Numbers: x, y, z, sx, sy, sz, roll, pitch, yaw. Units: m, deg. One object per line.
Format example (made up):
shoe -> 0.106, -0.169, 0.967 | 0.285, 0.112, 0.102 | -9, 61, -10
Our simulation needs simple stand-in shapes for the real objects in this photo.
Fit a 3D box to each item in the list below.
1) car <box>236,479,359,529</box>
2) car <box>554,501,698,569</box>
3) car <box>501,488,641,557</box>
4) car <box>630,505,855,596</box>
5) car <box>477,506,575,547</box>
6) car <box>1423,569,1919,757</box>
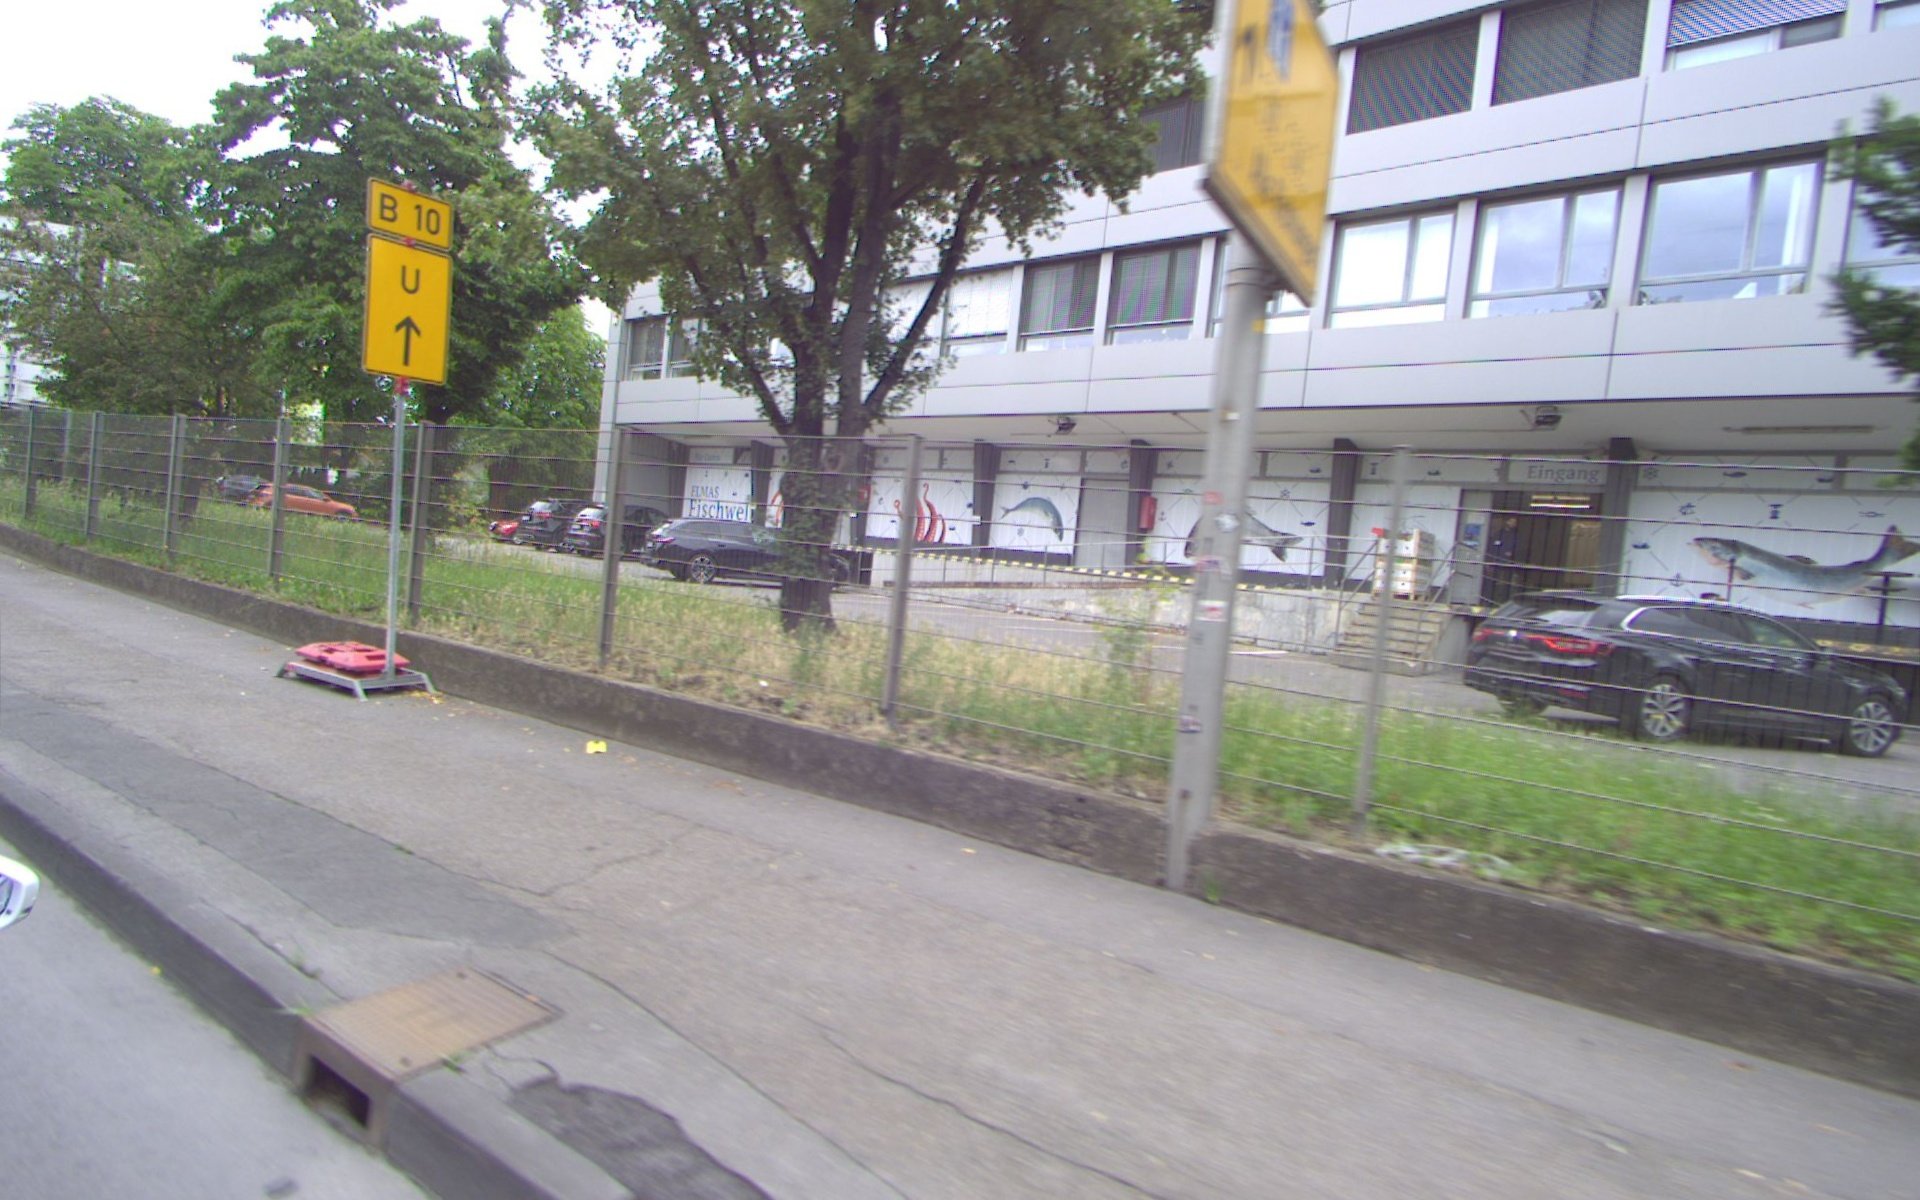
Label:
car -> -28.287, -4.081, 43.037 | 1.802, 1.554, 3.942 | 8, 2, 38
car -> -10.085, -1.941, 30.544 | 1.802, 1.554, 3.696 | 8, 2, 38
car -> -12.453, -2.449, 32.335 | 1.830, 1.696, 3.696 | 8, 2, 38
car -> -5.194, -1.166, 24.129 | 4.805, 1.554, 2.007 | 6, 2, -30
car -> -22.198, -3.752, 51.581 | 1.802, 1.564, 4.224 | 8, 2, 38
car -> 7.732, 0.651, 10.851 | 4.616, 1.494, 1.993 | 5, 2, -14
